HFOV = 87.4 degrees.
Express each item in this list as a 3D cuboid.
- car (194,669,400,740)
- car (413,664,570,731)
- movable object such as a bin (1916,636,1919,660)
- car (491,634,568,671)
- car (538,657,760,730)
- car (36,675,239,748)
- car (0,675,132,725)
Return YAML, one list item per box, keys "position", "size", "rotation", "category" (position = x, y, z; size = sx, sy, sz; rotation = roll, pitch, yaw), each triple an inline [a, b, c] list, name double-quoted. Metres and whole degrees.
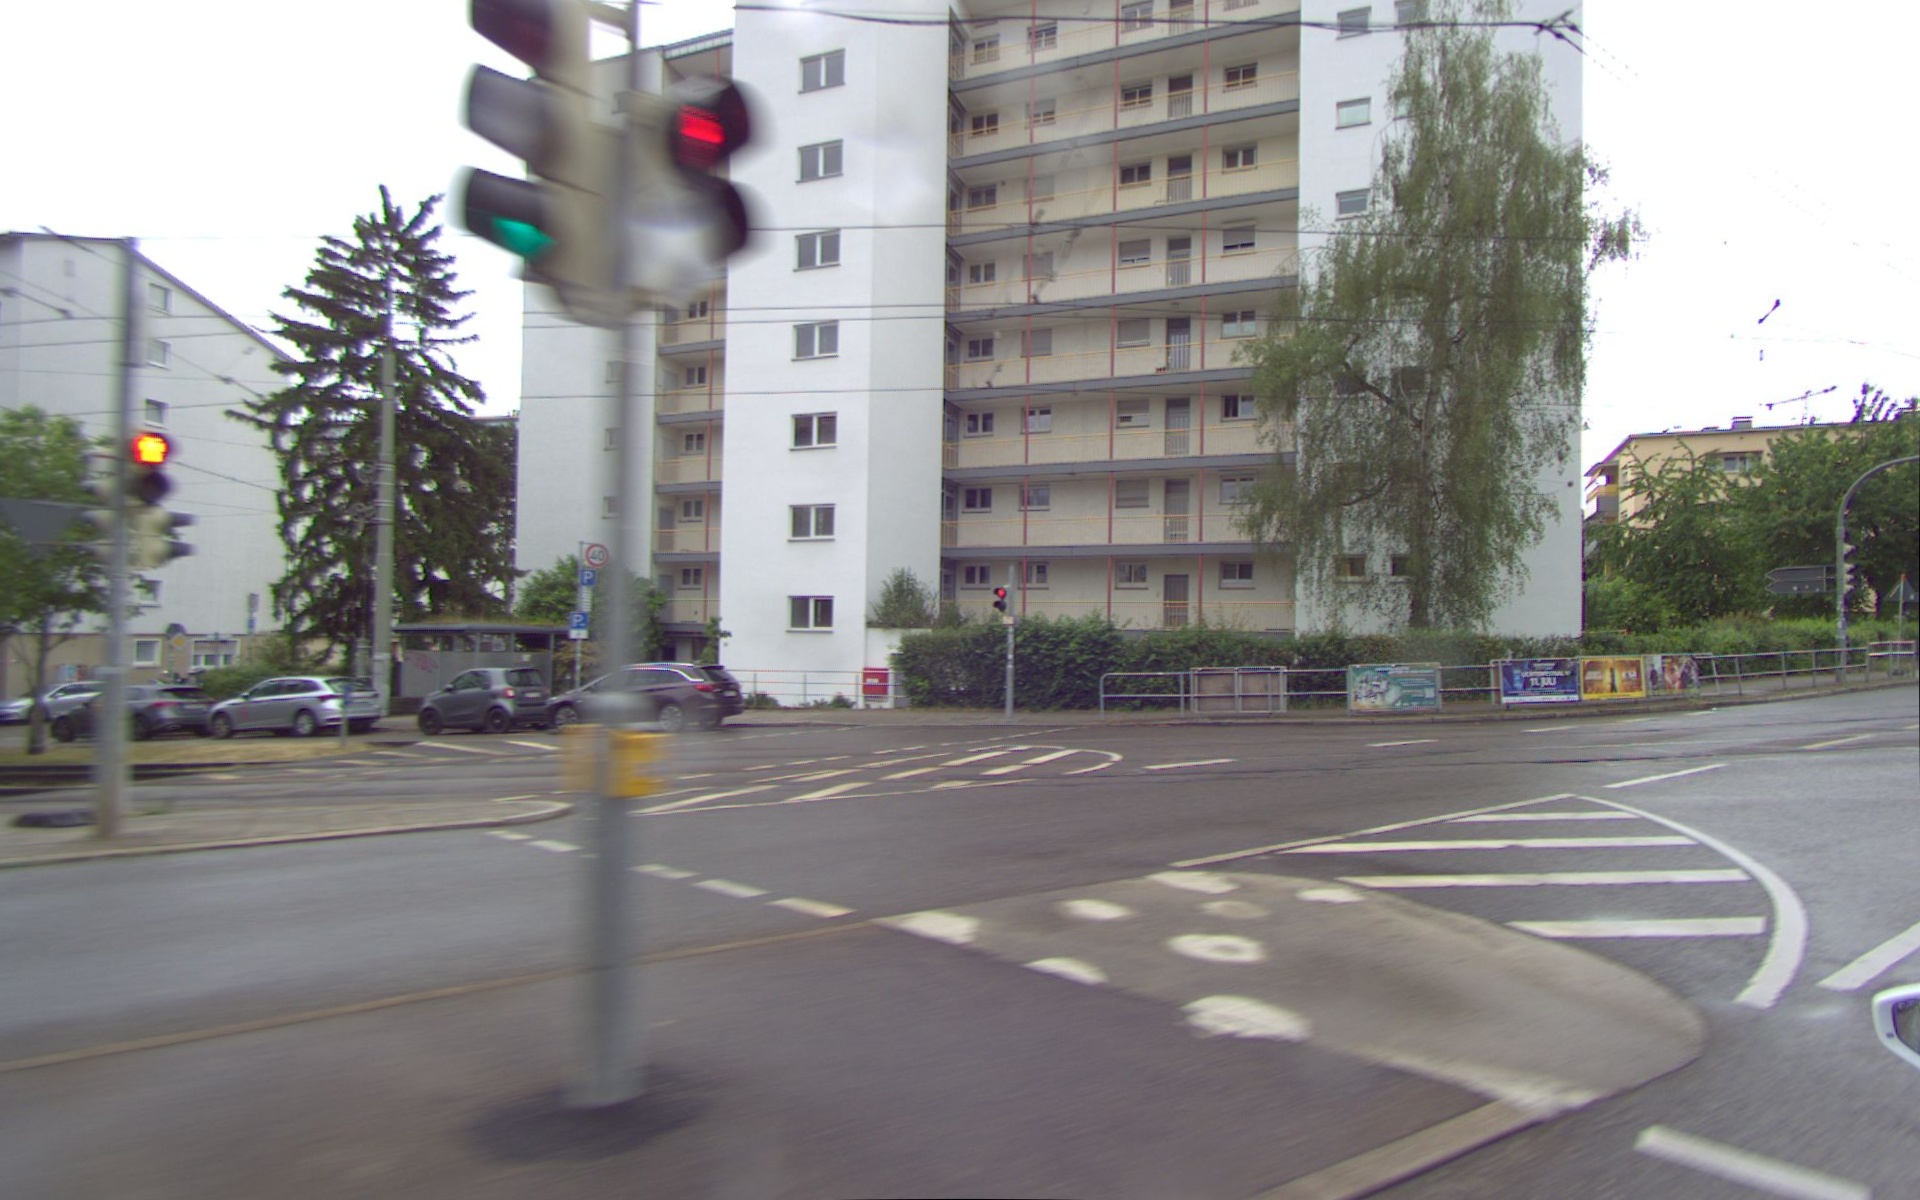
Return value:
- position: [-16.651, 2.618, 25.296]
  size: [4.225, 1.528, 2.001]
  rotation: [-3, -2, 15]
  category: "car"
- position: [-11.028, 2.286, 23.738]
  size: [2.835, 1.410, 1.812]
  rotation: [-3, -2, 14]
  category: "car"
- position: [35.722, 1.769, 36.968]
  size: [0.753, 0.893, 0.681]
  rotation: [3, -2, -36]
  category: "movable object such as a bin"
- position: [-24.133, 2.920, 56.470]
  size: [1.959, 1.923, 4.003]
  rotation: [1, -1, 13]
  category: "car"
- position: [-6.909, 2.084, 22.415]
  size: [4.402, 1.479, 1.876]
  rotation: [-2, -4, 15]
  category: "car"
- position: [-21.551, 2.909, 26.382]
  size: [4.226, 1.527, 2.001]
  rotation: [-4, -2, 15]
  category: "car"
- position: [-35.124, 3.812, 39.032]
  size: [1.959, 1.583, 4.195]
  rotation: [1, -1, 13]
  category: "car"
